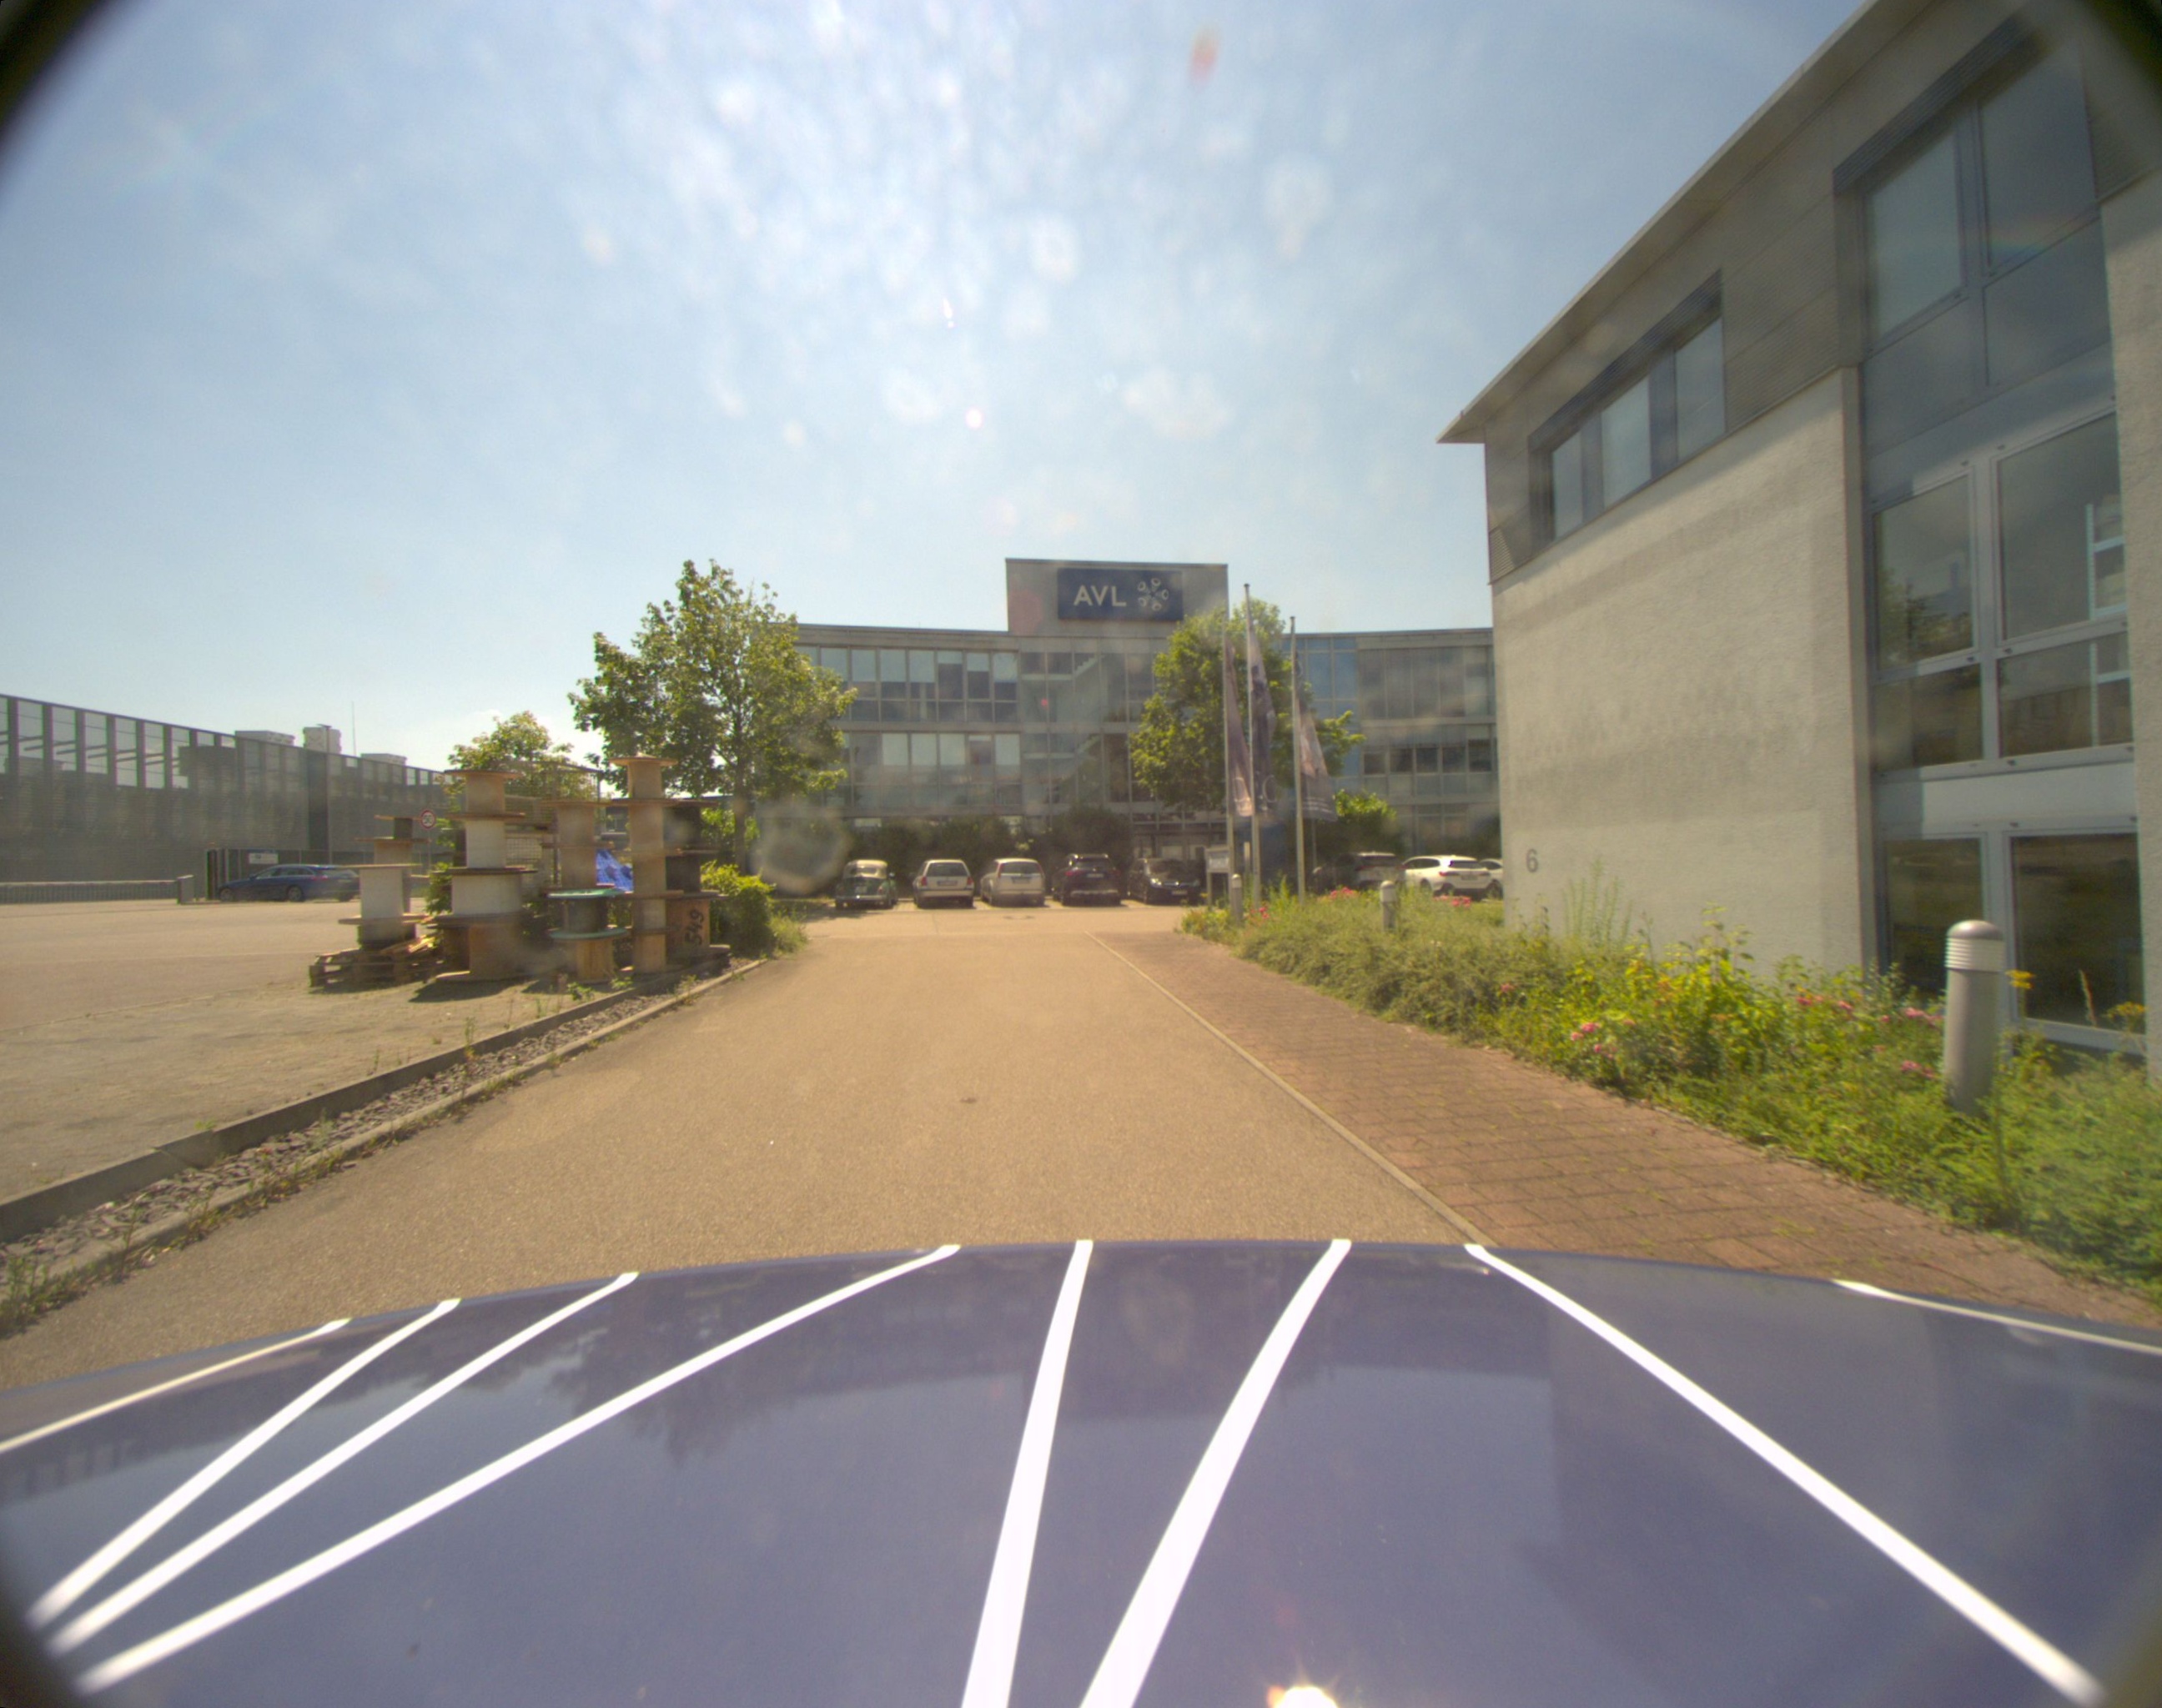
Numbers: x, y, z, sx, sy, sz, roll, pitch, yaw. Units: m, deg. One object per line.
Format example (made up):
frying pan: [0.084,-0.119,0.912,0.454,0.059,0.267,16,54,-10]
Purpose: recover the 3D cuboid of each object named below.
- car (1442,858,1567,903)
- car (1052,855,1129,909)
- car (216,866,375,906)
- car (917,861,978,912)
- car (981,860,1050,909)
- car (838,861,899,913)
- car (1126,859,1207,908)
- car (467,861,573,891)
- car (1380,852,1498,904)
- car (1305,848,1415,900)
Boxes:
car: [14.561,0.860,26.440,1.752,1.392,4.169,0,0,-5]
car: [0.220,0.859,25.147,1.940,1.593,3.856,0,0,-8]
car: [-30.064,1.197,29.157,4.441,1.401,1.860,-1,0,6]
car: [-4.311,0.970,24.188,1.644,1.443,3.596,0,0,-14]
car: [-2.223,0.947,25.092,1.733,1.443,3.596,0,1,-14]
car: [-6.558,0.961,23.708,1.523,1.437,3.415,0,0,-10]
car: [2.758,0.917,25.551,1.731,1.475,4.394,-1,0,-7]
car: [-28.742,1.115,38.966,4.408,1.467,1.782,-1,0,9]
car: [12.216,0.764,26.247,1.833,1.628,4.169,0,0,-5]
car: [9.506,0.641,26.277,1.833,1.628,4.168,0,0,-7]
